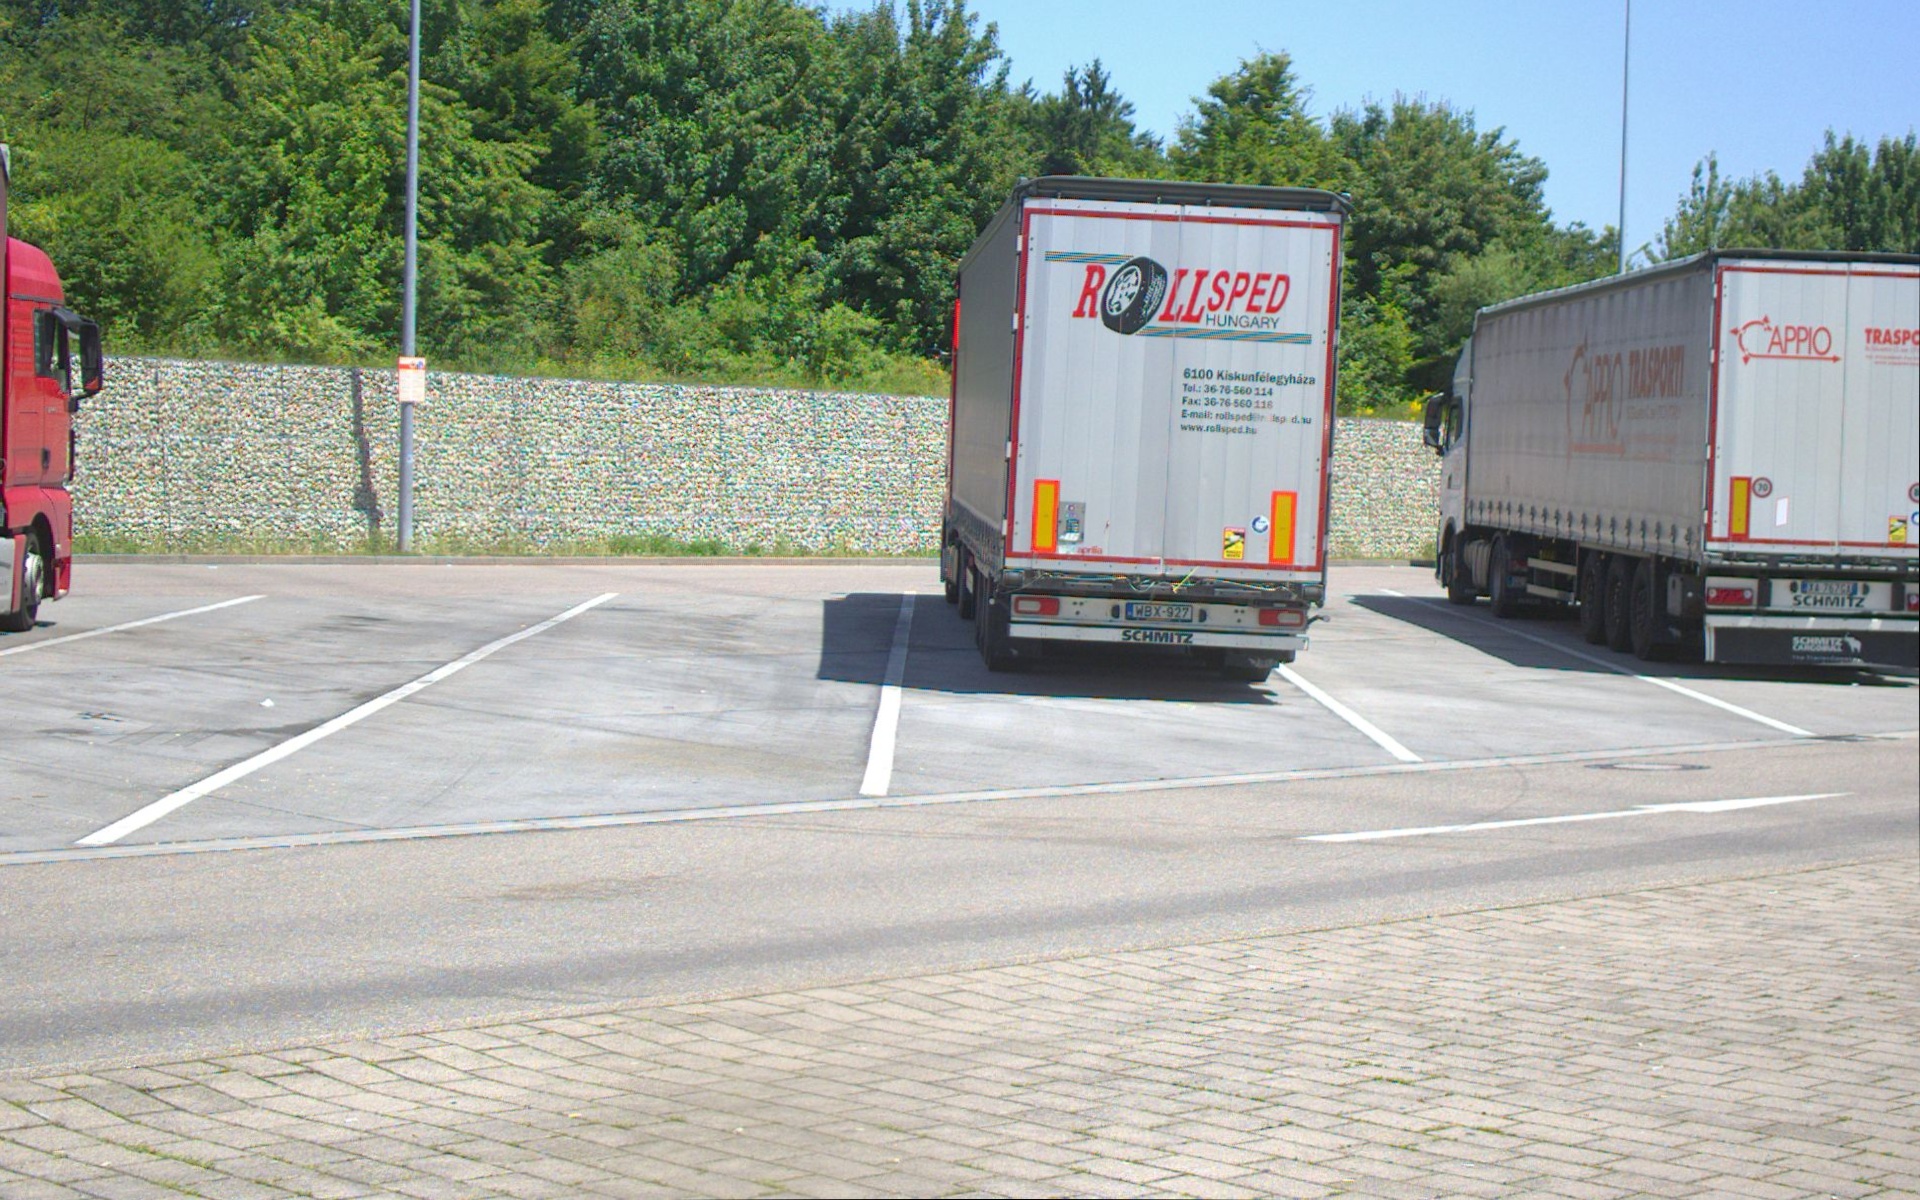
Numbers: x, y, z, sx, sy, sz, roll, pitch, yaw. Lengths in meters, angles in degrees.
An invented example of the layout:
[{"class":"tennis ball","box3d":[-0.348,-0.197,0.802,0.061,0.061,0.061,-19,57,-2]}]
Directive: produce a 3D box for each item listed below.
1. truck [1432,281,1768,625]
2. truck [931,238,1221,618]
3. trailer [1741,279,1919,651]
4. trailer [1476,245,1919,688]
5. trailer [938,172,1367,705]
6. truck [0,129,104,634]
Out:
[{"class":"truck","box3d":[8.123,-1.948,44.598,2.866,4.023,6.957,2,3,0]},{"class":"truck","box3d":[1.226,-2.053,40.712,2.866,4.023,7.028,2,3,-2]},{"class":"trailer","box3d":[11.838,-1.525,39.035,2.866,4.023,12.439,2,3,0]},{"class":"trailer","box3d":[8.182,-1.565,37.971,2.866,4.023,12.439,2,3,0]},{"class":"trailer","box3d":[1.438,-1.634,33.633,2.866,4.023,14.243,2,3,-2]},{"class":"truck","box3d":[-9.149,-1.811,27.994,2.696,4.099,6.240,2,3,0]}]
